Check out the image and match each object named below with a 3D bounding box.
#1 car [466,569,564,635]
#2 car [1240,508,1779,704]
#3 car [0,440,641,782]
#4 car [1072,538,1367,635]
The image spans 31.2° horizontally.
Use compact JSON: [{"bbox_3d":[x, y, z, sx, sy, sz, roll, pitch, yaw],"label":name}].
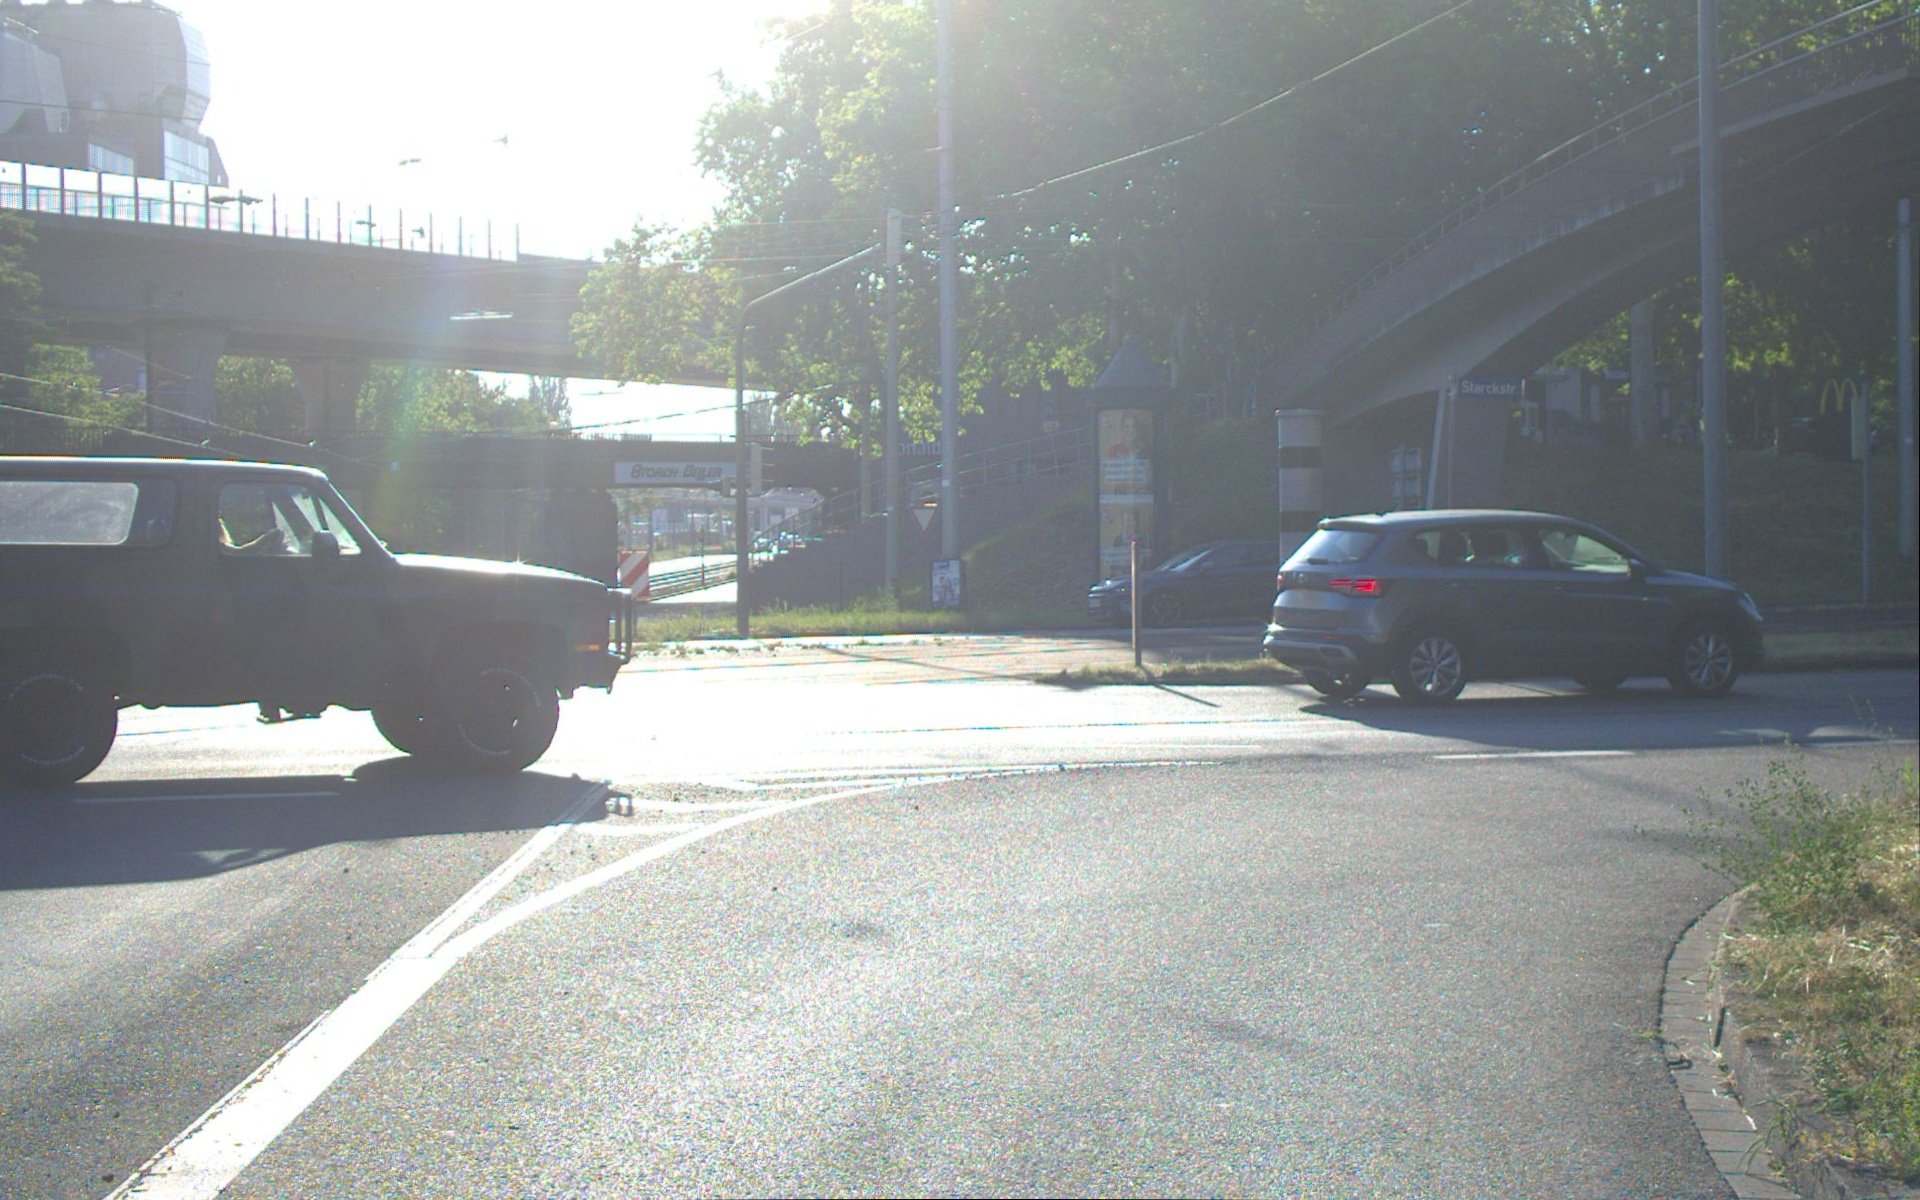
[{"bbox_3d":[-9.845,0.027,76.263,1.665,1.400,4.197,0,1,0],"label":"car"},{"bbox_3d":[4.652,0.032,29.105,4.234,1.569,1.694,0,1,-22],"label":"car"},{"bbox_3d":[-4.649,0.043,21.404,4.926,1.984,2.038,0,1,-22],"label":"car"},{"bbox_3d":[4.300,-0.226,57.096,4.574,1.569,1.694,0,1,-17],"label":"car"}]
